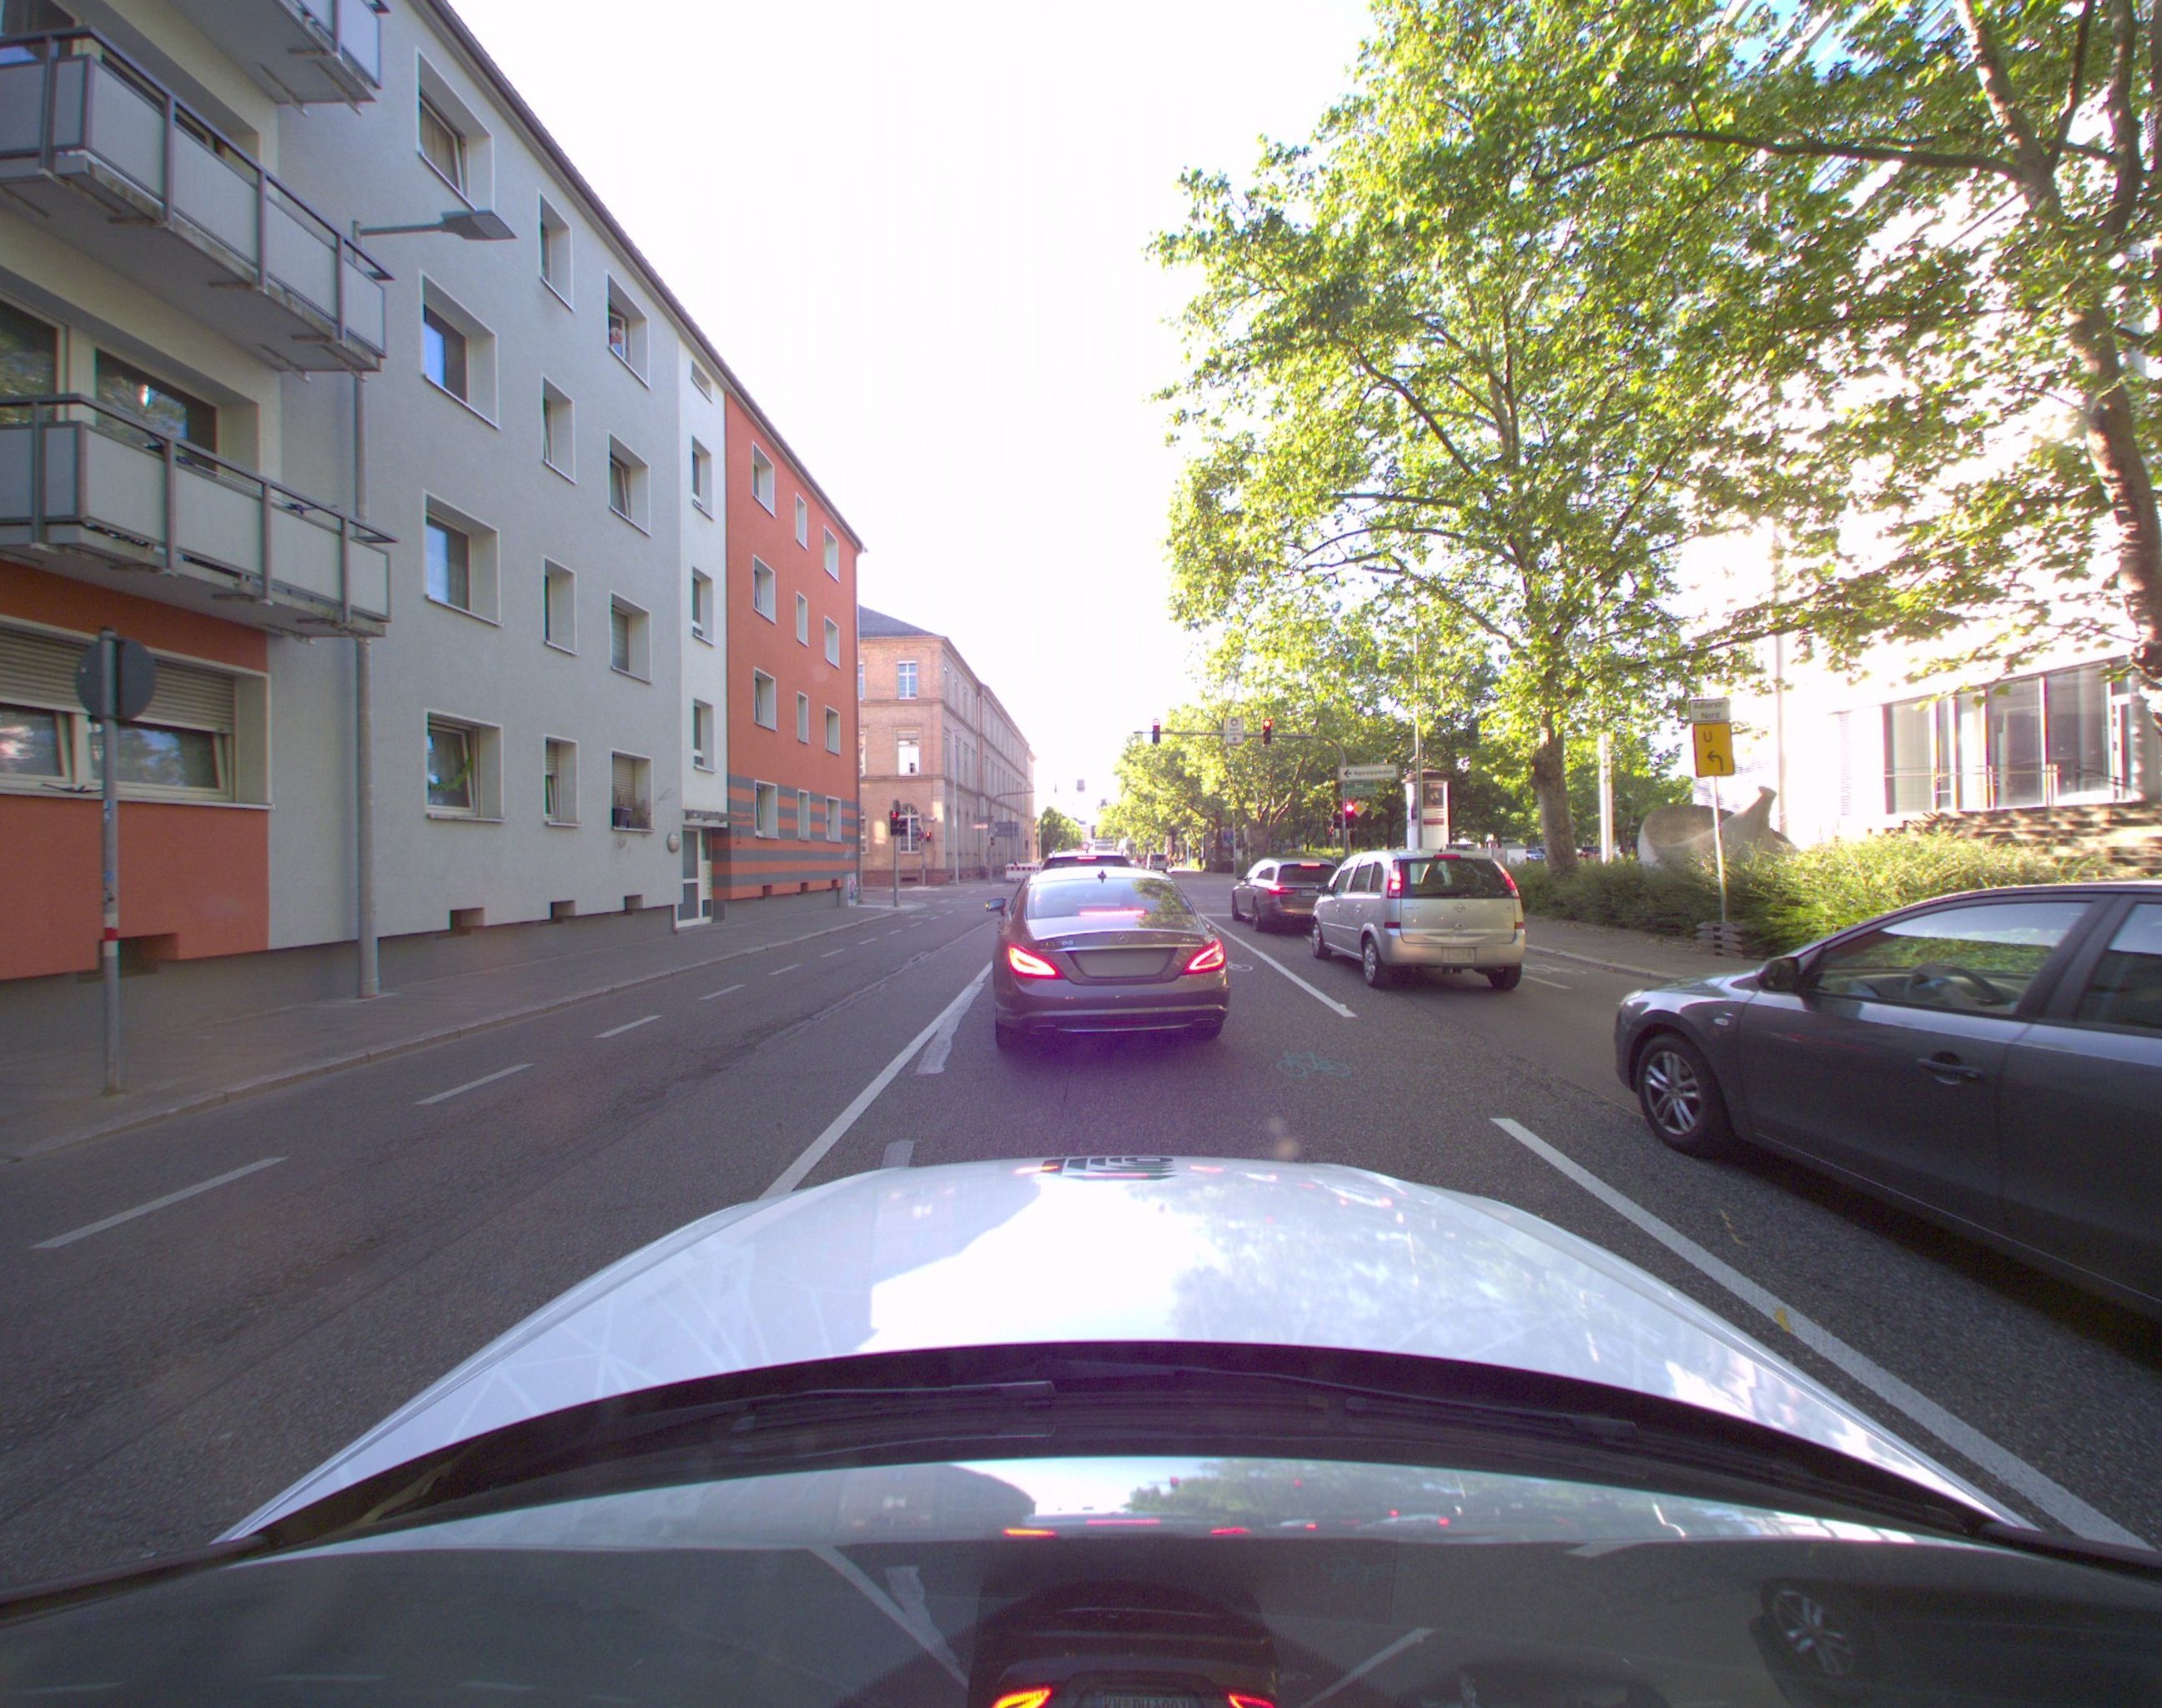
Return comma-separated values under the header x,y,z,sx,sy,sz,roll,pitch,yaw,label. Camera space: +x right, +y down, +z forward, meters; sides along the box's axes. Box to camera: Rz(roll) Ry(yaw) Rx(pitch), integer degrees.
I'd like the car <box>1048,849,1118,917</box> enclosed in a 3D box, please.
x,y,z,sx,sy,sz,roll,pitch,yaw,label
0.124,0.768,23.373,1.813,1.762,4.002,-1,0,2,car

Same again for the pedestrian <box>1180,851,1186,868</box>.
x,y,z,sx,sy,sz,roll,pitch,yaw,label
11.125,0.555,88.565,0.601,1.821,0.652,-1,0,1,pedestrian

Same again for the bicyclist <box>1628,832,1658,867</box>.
x,y,z,sx,sy,sz,roll,pitch,yaw,label
26.948,-0.232,39.071,1.013,1.642,0.607,-1,0,-4,bicyclist

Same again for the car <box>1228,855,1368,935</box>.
x,y,z,sx,sy,sz,roll,pitch,yaw,label
4.464,0.768,17.488,1.905,1.464,4.671,0,0,2,car

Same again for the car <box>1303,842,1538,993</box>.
x,y,z,sx,sy,sz,roll,pitch,yaw,label
4.183,0.682,10.717,1.694,1.603,3.863,1,0,4,car

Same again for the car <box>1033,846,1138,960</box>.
x,y,z,sx,sy,sz,roll,pitch,yaw,label
0.064,0.711,13.768,1.513,1.647,3.879,-1,0,0,car

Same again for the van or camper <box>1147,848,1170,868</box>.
x,y,z,sx,sy,sz,roll,pitch,yaw,label
7.938,0.429,83.685,1.986,1.941,4.595,-1,0,1,van or camper

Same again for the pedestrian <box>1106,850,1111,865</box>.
x,y,z,sx,sy,sz,roll,pitch,yaw,label
3.848,0.484,113.531,0.722,2.013,0.748,-1,0,-2,pedestrian

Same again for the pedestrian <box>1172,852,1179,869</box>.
x,y,z,sx,sy,sz,roll,pitch,yaw,label
10.287,0.717,88.721,0.601,1.821,0.652,-1,0,1,pedestrian

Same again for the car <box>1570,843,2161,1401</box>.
x,y,z,sx,sy,sz,roll,pitch,yaw,label
3.707,0.705,2.898,1.638,1.482,3.978,-1,0,2,car

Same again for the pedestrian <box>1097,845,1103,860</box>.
x,y,z,sx,sy,sz,roll,pitch,yaw,label
2.628,-0.219,113.732,0.722,2.013,0.748,-1,0,-2,pedestrian

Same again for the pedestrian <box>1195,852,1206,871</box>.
x,y,z,sx,sy,sz,roll,pitch,yaw,label
10.363,0.637,70.545,0.827,1.606,0.652,-1,0,1,pedestrian

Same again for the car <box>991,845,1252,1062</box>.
x,y,z,sx,sy,sz,roll,pitch,yaw,label
0.102,0.677,7.779,1.801,1.456,4.342,-1,0,-5,car
